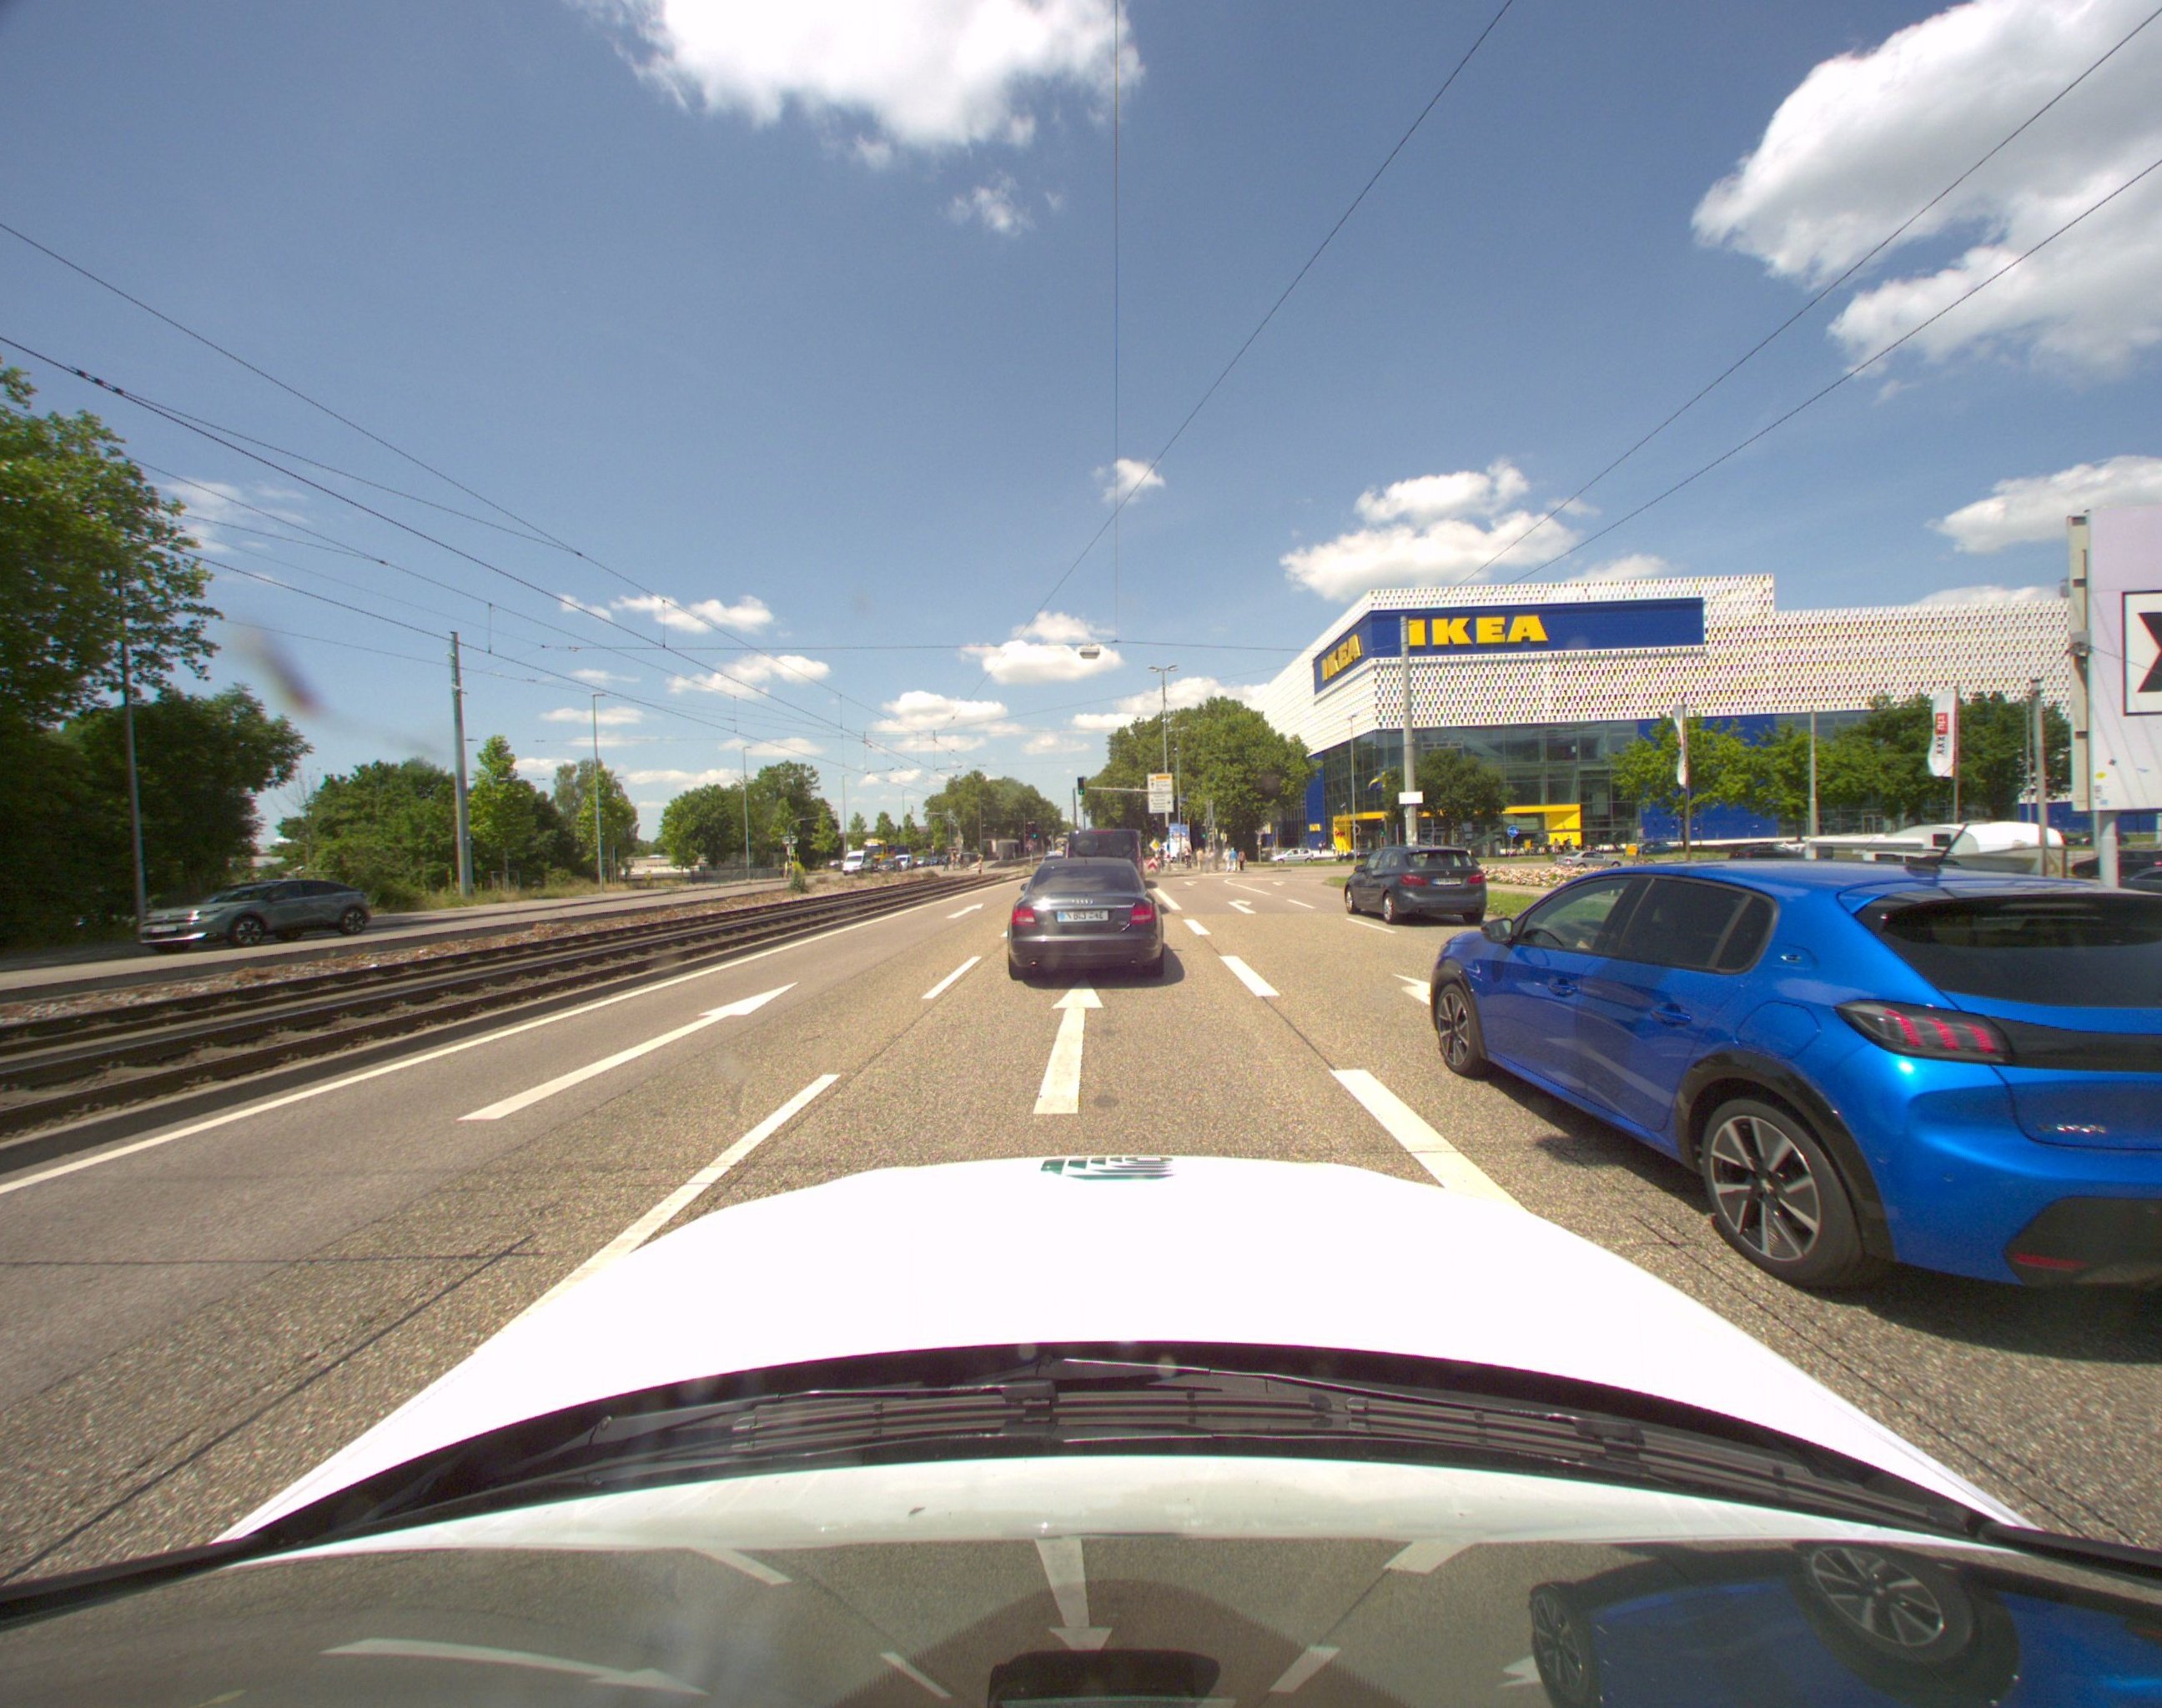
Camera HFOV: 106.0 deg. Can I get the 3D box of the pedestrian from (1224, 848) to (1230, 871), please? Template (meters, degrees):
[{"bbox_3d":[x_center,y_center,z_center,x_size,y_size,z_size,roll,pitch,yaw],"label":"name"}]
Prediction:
[{"bbox_3d":[10.121,0.380,56.366,0.319,1.635,0.377,-1,0,5],"label":"pedestrian"}]

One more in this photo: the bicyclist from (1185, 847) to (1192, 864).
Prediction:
[{"bbox_3d":[7.950,0.113,60.353,0.468,1.193,0.792,-1,0,4],"label":"bicyclist"}]

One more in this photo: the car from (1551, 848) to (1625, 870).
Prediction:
[{"bbox_3d":[35.722,0.324,57.452,4.151,1.486,1.994,0,0,-9],"label":"car"}]

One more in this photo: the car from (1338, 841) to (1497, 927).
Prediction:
[{"bbox_3d":[6.807,0.535,16.970,1.754,1.526,4.102,-1,0,3],"label":"car"}]

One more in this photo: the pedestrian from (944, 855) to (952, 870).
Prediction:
[{"bbox_3d":[-13.097,0.855,80.270,0.683,1.443,0.572,-1,0,-2],"label":"pedestrian"}]

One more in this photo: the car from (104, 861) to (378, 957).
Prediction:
[{"bbox_3d":[-19.529,1.176,19.304,1.988,1.918,4.408,0,1,-2],"label":"car"}]

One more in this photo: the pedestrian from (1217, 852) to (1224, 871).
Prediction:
[{"bbox_3d":[9.663,0.497,56.400,0.371,1.303,0.365,-1,0,5],"label":"pedestrian"}]

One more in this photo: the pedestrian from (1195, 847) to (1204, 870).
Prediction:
[{"bbox_3d":[8.280,0.304,57.017,0.551,1.635,0.433,-1,0,4],"label":"pedestrian"}]

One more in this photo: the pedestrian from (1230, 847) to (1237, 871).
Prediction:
[{"bbox_3d":[10.527,0.351,56.312,0.396,1.635,0.371,-1,0,5],"label":"pedestrian"}]

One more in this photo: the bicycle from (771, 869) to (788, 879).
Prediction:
[{"bbox_3d":[-29.725,1.951,80.194,1.487,0.987,0.485,-1,0,-2],"label":"bicycle"}]

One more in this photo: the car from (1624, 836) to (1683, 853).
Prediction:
[{"bbox_3d":[50.740,-0.883,72.219,3.770,1.486,2.003,0,0,5],"label":"car"}]

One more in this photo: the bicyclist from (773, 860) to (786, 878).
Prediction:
[{"bbox_3d":[-29.641,1.463,80.151,1.116,1.774,0.340,-1,0,-3],"label":"bicyclist"}]

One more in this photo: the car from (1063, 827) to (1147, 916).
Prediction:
[{"bbox_3d":[0.595,0.392,20.233,1.830,1.950,4.001,-1,0,2],"label":"car"}]

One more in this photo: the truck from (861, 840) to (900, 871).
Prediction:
[{"bbox_3d":[-23.842,0.151,97.155,2.757,3.569,6.442,-1,0,2],"label":"truck"}]

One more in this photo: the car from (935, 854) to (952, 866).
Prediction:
[{"bbox_3d":[-22.249,0.958,131.932,1.811,1.883,4.002,-1,0,2],"label":"car"}]

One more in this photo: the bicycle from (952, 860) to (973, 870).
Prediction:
[{"bbox_3d":[-11.527,1.098,79.376,2.055,0.925,0.751,-1,0,-8],"label":"bicycle"}]

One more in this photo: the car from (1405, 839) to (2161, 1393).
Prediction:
[{"bbox_3d":[3.290,0.670,4.132,1.830,1.454,4.002,0,1,2],"label":"car"}]

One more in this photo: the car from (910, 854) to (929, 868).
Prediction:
[{"bbox_3d":[-23.079,0.969,116.426,1.811,1.883,4.002,-1,0,2],"label":"car"}]

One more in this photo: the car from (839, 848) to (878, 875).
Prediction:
[{"bbox_3d":[-24.096,0.767,88.351,2.235,2.588,6.236,-4,1,1],"label":"car"}]

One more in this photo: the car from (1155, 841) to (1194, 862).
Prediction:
[{"bbox_3d":[10.687,-0.224,93.020,2.006,2.309,4.729,-1,0,-30],"label":"car"}]

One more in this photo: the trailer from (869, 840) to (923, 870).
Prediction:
[{"bbox_3d":[-23.603,0.084,104.931,2.757,3.518,15.884,-1,0,2],"label":"trailer"}]

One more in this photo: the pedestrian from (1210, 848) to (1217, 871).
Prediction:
[{"bbox_3d":[9.191,0.375,56.516,0.443,1.635,0.430,-1,0,5],"label":"pedestrian"}]

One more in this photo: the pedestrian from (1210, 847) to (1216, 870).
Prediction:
[{"bbox_3d":[9.401,0.297,57.913,0.379,1.635,0.377,-1,0,5],"label":"pedestrian"}]

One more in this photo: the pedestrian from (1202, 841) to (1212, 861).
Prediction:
[{"bbox_3d":[11.847,-0.268,76.746,0.678,1.846,0.711,-1,0,27],"label":"pedestrian"}]

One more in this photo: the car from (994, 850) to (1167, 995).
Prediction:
[{"bbox_3d":[0.015,0.723,10.717,1.786,1.455,4.000,-2,0,0],"label":"car"}]

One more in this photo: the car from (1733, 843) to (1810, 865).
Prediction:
[{"bbox_3d":[49.002,-0.001,57.854,3.969,1.489,1.737,-1,0,3],"label":"car"}]

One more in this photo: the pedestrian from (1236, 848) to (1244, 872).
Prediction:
[{"bbox_3d":[11.622,0.434,59.484,0.518,1.670,0.495,-1,0,5],"label":"pedestrian"}]

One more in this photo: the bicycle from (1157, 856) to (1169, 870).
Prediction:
[{"bbox_3d":[6.068,0.665,60.155,0.685,0.993,2.753,-1,0,2],"label":"bicycle"}]

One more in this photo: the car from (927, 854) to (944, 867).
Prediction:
[{"bbox_3d":[-22.525,0.960,126.067,1.811,1.883,4.002,-1,0,2],"label":"car"}]

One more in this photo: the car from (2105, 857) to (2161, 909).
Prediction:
[{"bbox_3d":[35.085,0.931,24.752,1.986,1.537,4.772,-3,0,2],"label":"car"}]

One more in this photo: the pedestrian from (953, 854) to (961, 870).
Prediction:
[{"bbox_3d":[-12.412,0.790,81.366,0.683,1.564,0.572,-1,0,-2],"label":"pedestrian"}]

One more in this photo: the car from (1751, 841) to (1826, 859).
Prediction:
[{"bbox_3d":[59.666,-0.367,68.769,4.475,1.486,2.003,0,0,5],"label":"car"}]

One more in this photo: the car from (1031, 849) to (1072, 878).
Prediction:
[{"bbox_3d":[-1.567,0.495,45.060,1.986,1.486,4.002,0,1,2],"label":"car"}]

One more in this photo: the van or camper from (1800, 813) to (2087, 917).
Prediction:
[{"bbox_3d":[28.280,0.298,27.327,2.494,3.020,7.235,-1,0,6],"label":"van or camper"}]

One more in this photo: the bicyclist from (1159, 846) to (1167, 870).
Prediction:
[{"bbox_3d":[6.064,0.292,60.165,0.526,1.789,1.089,-1,0,2],"label":"bicyclist"}]

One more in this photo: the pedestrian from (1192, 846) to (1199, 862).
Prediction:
[{"bbox_3d":[10.819,0.028,76.982,0.490,1.520,0.710,-1,0,19],"label":"pedestrian"}]

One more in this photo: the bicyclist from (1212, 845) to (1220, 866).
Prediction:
[{"bbox_3d":[11.270,0.138,67.843,0.525,1.764,0.831,-1,0,15],"label":"bicyclist"}]

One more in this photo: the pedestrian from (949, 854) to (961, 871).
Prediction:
[{"bbox_3d":[-12.850,0.885,83.039,0.816,1.720,0.779,-1,0,24],"label":"pedestrian"}]

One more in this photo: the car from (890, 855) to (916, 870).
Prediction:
[{"bbox_3d":[-20.766,0.959,94.983,1.814,1.670,4.465,0,0,3],"label":"car"}]

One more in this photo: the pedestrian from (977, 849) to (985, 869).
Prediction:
[{"bbox_3d":[-10.242,0.544,83.290,0.683,2.013,0.572,-1,0,-3],"label":"pedestrian"}]

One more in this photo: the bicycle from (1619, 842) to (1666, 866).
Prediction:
[{"bbox_3d":[37.034,-0.007,53.730,2.410,1.481,0.990,-1,0,6],"label":"bicycle"}]

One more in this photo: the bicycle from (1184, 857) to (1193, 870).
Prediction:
[{"bbox_3d":[7.934,0.708,60.222,0.547,0.877,1.699,-1,0,4],"label":"bicycle"}]

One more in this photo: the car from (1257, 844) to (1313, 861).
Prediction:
[{"bbox_3d":[17.632,-0.138,70.415,4.475,1.486,2.003,0,0,5],"label":"car"}]

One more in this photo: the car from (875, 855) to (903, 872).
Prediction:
[{"bbox_3d":[-20.681,1.006,87.793,1.815,1.670,4.463,0,0,2],"label":"car"}]
